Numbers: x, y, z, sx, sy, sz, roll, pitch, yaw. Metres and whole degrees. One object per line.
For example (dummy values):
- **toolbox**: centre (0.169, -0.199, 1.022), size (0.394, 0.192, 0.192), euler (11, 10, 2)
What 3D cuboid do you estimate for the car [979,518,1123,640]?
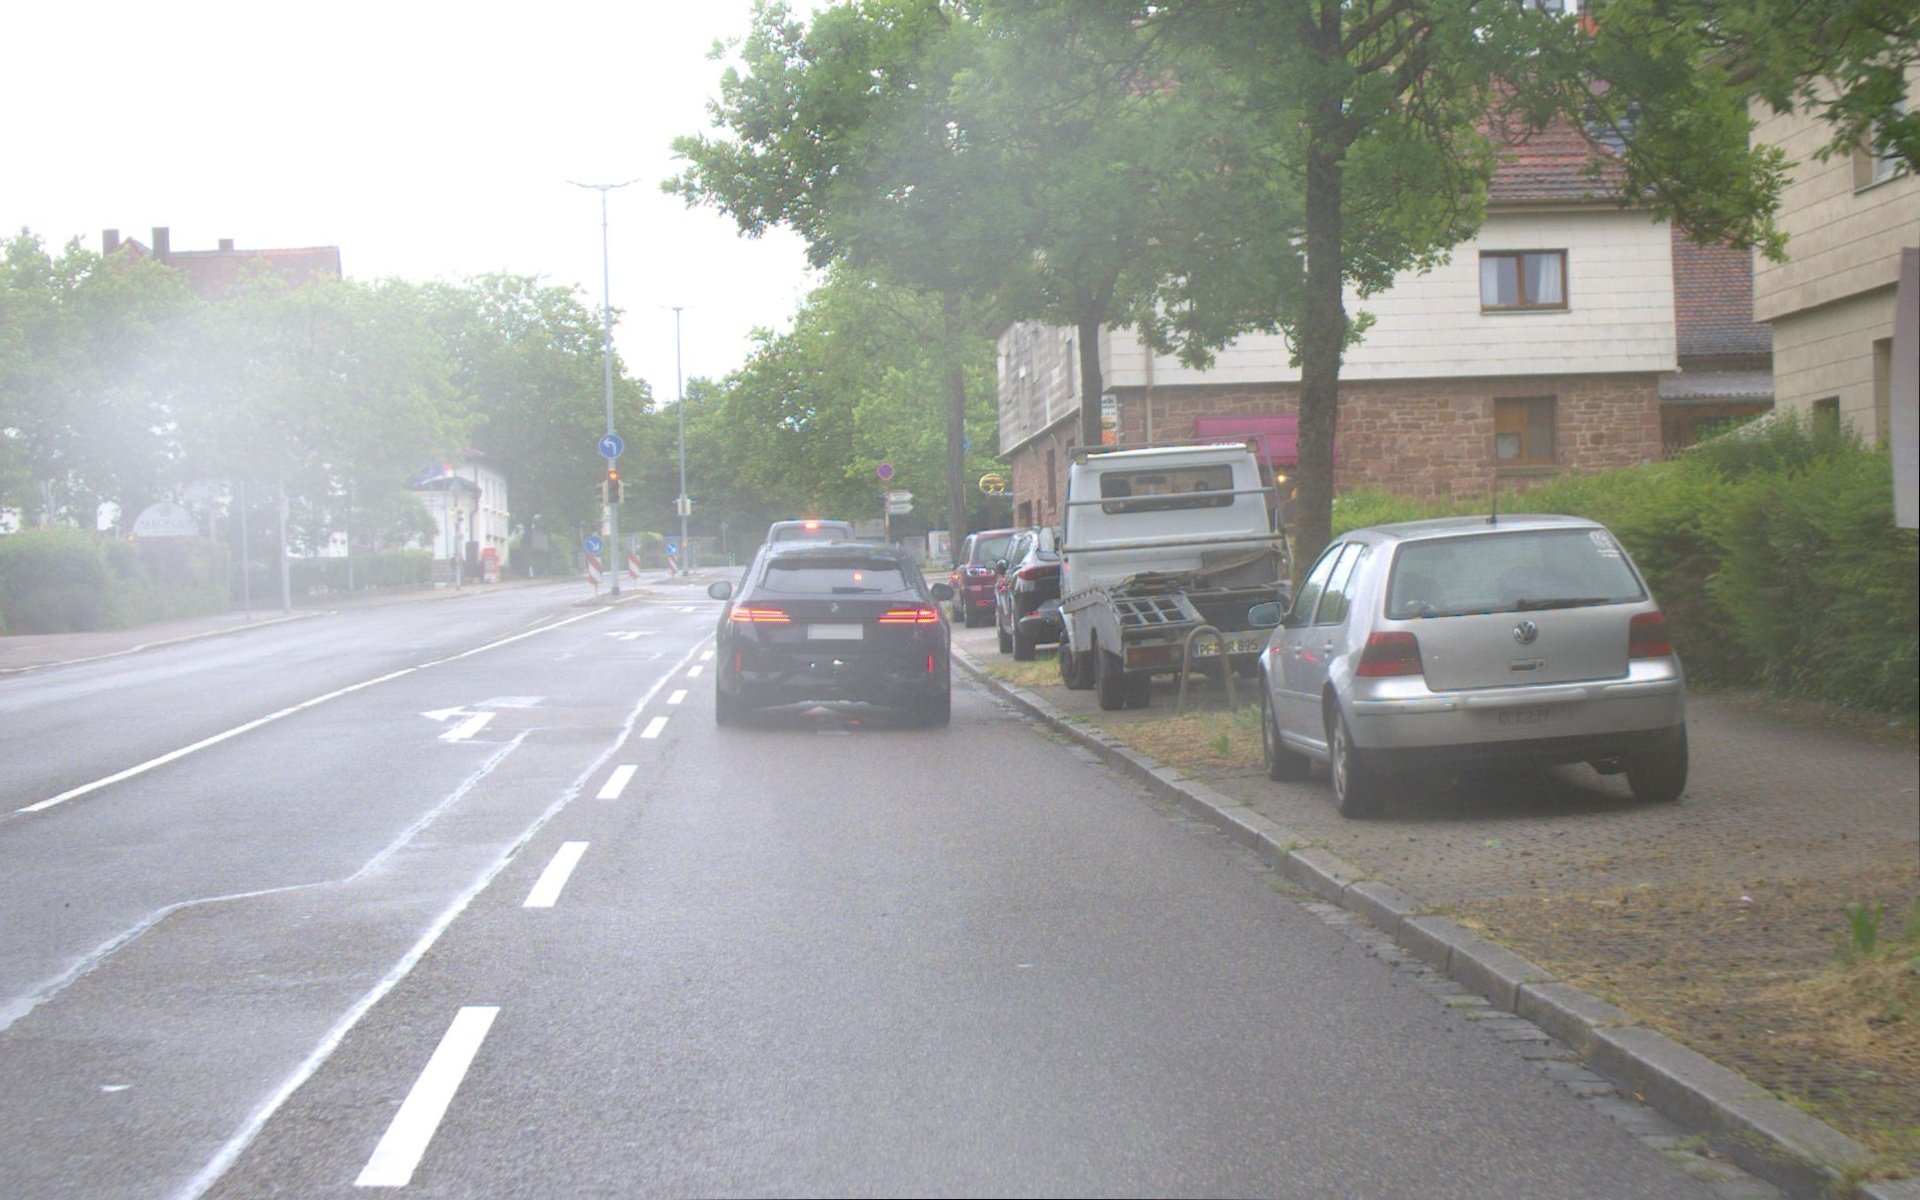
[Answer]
- **car**: centre (1.195, -0.313, 46.557), size (1.604, 1.467, 3.857), euler (-4, 1, -2)

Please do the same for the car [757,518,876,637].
- **car**: centre (-2.336, -0.395, 55.134), size (1.783, 1.811, 4.001), euler (-1, 1, -4)

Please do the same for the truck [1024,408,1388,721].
- **truck**: centre (1.919, -0.329, 29.181), size (2.080, 2.214, 6.503), euler (-4, 1, -4)

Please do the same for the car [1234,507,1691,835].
- **car**: centre (2.538, 0.283, 18.260), size (1.601, 1.431, 4.022), euler (-4, 2, -2)

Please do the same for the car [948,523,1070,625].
- **car**: centre (0.764, -0.456, 55.928), size (1.583, 1.485, 3.628), euler (-4, 2, -4)

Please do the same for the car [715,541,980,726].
- **car**: centre (-1.037, 0.232, 29.083), size (2.064, 1.441, 4.484), euler (0, 1, -4)

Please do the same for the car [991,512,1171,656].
- **car**: centre (1.371, -0.216, 40.512), size (1.714, 1.493, 4.184), euler (-4, 1, -2)
